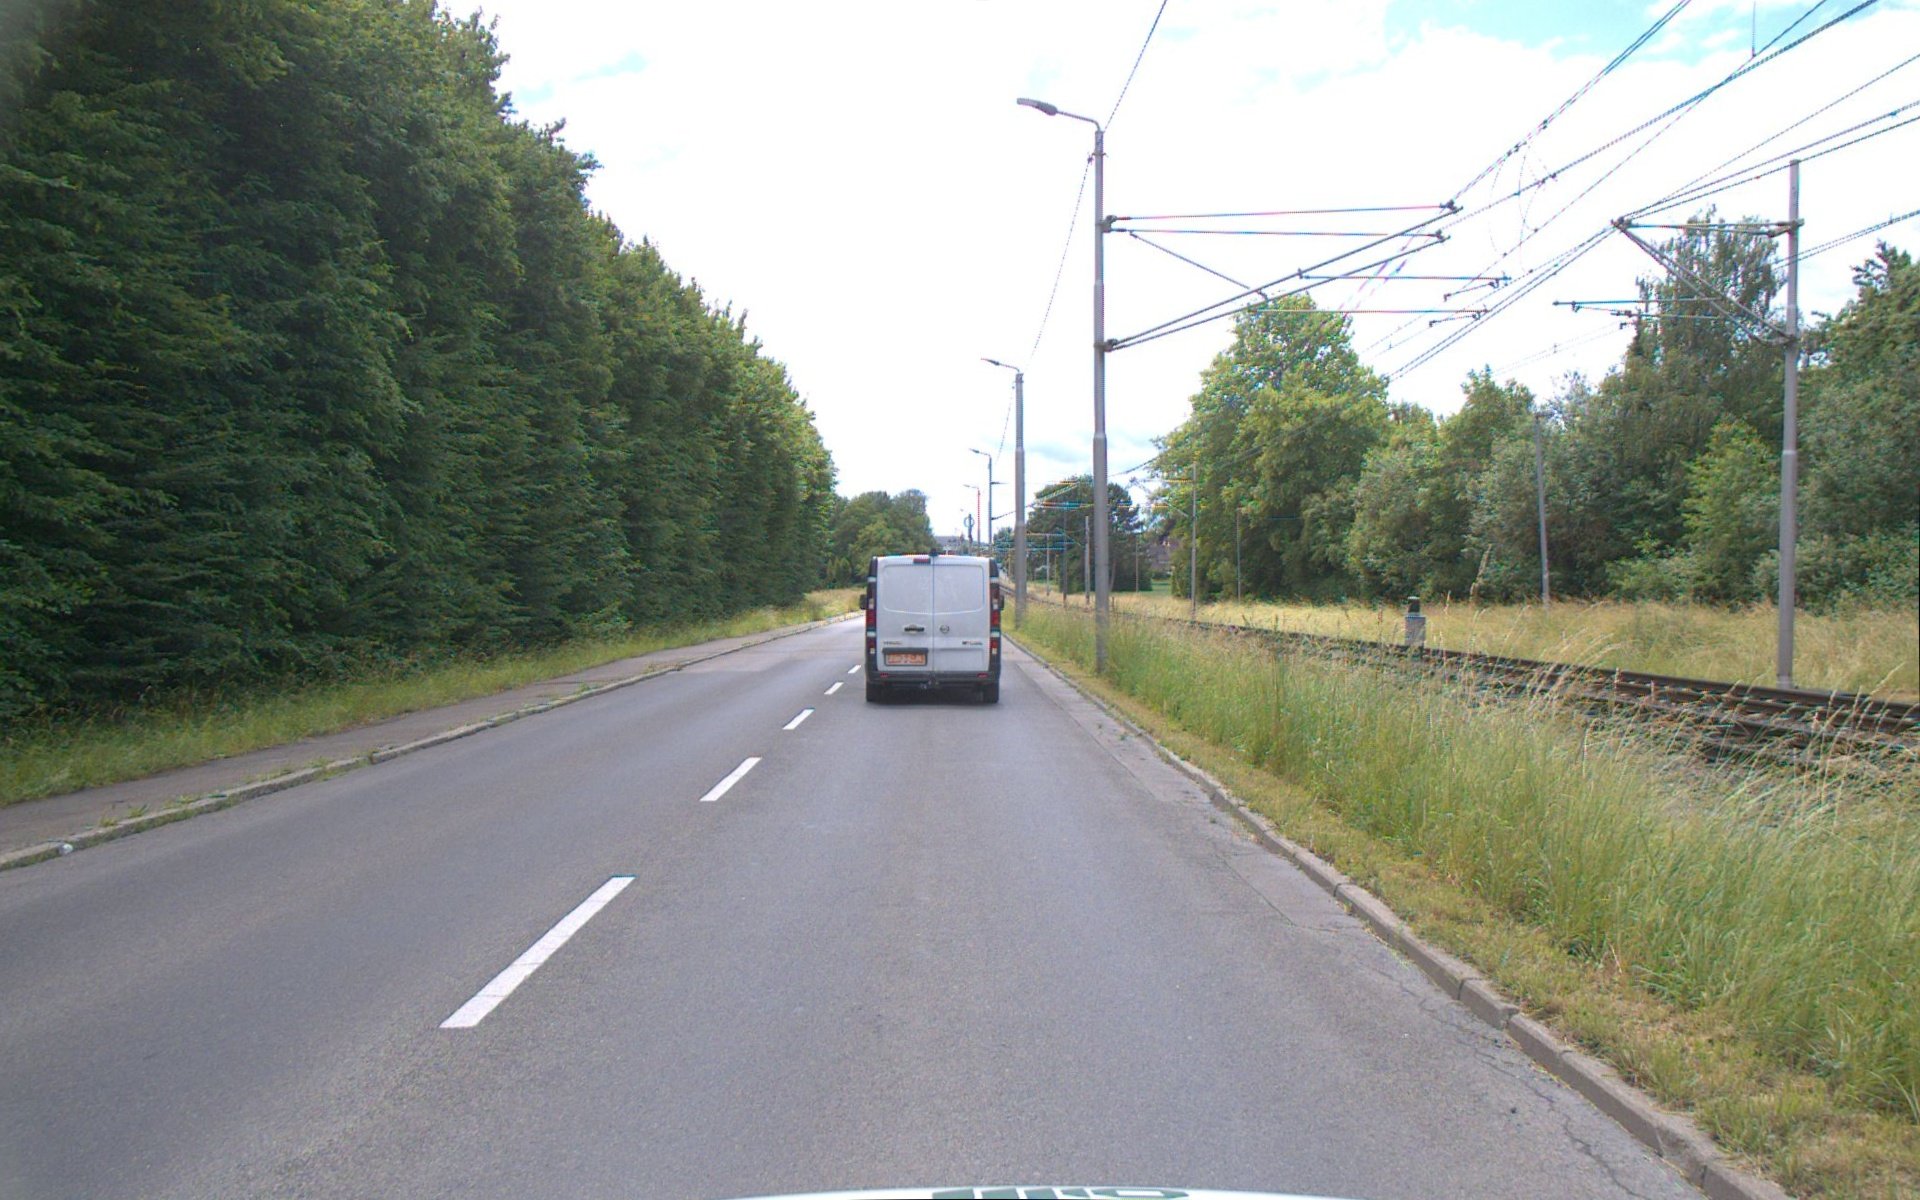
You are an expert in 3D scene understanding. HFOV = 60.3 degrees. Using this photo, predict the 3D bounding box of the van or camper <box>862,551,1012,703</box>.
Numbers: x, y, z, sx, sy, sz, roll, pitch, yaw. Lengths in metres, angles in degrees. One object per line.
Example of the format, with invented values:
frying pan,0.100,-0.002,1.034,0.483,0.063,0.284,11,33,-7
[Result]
van or camper,-0.308,0.320,23.432,1.902,1.930,4.284,1,1,-1
